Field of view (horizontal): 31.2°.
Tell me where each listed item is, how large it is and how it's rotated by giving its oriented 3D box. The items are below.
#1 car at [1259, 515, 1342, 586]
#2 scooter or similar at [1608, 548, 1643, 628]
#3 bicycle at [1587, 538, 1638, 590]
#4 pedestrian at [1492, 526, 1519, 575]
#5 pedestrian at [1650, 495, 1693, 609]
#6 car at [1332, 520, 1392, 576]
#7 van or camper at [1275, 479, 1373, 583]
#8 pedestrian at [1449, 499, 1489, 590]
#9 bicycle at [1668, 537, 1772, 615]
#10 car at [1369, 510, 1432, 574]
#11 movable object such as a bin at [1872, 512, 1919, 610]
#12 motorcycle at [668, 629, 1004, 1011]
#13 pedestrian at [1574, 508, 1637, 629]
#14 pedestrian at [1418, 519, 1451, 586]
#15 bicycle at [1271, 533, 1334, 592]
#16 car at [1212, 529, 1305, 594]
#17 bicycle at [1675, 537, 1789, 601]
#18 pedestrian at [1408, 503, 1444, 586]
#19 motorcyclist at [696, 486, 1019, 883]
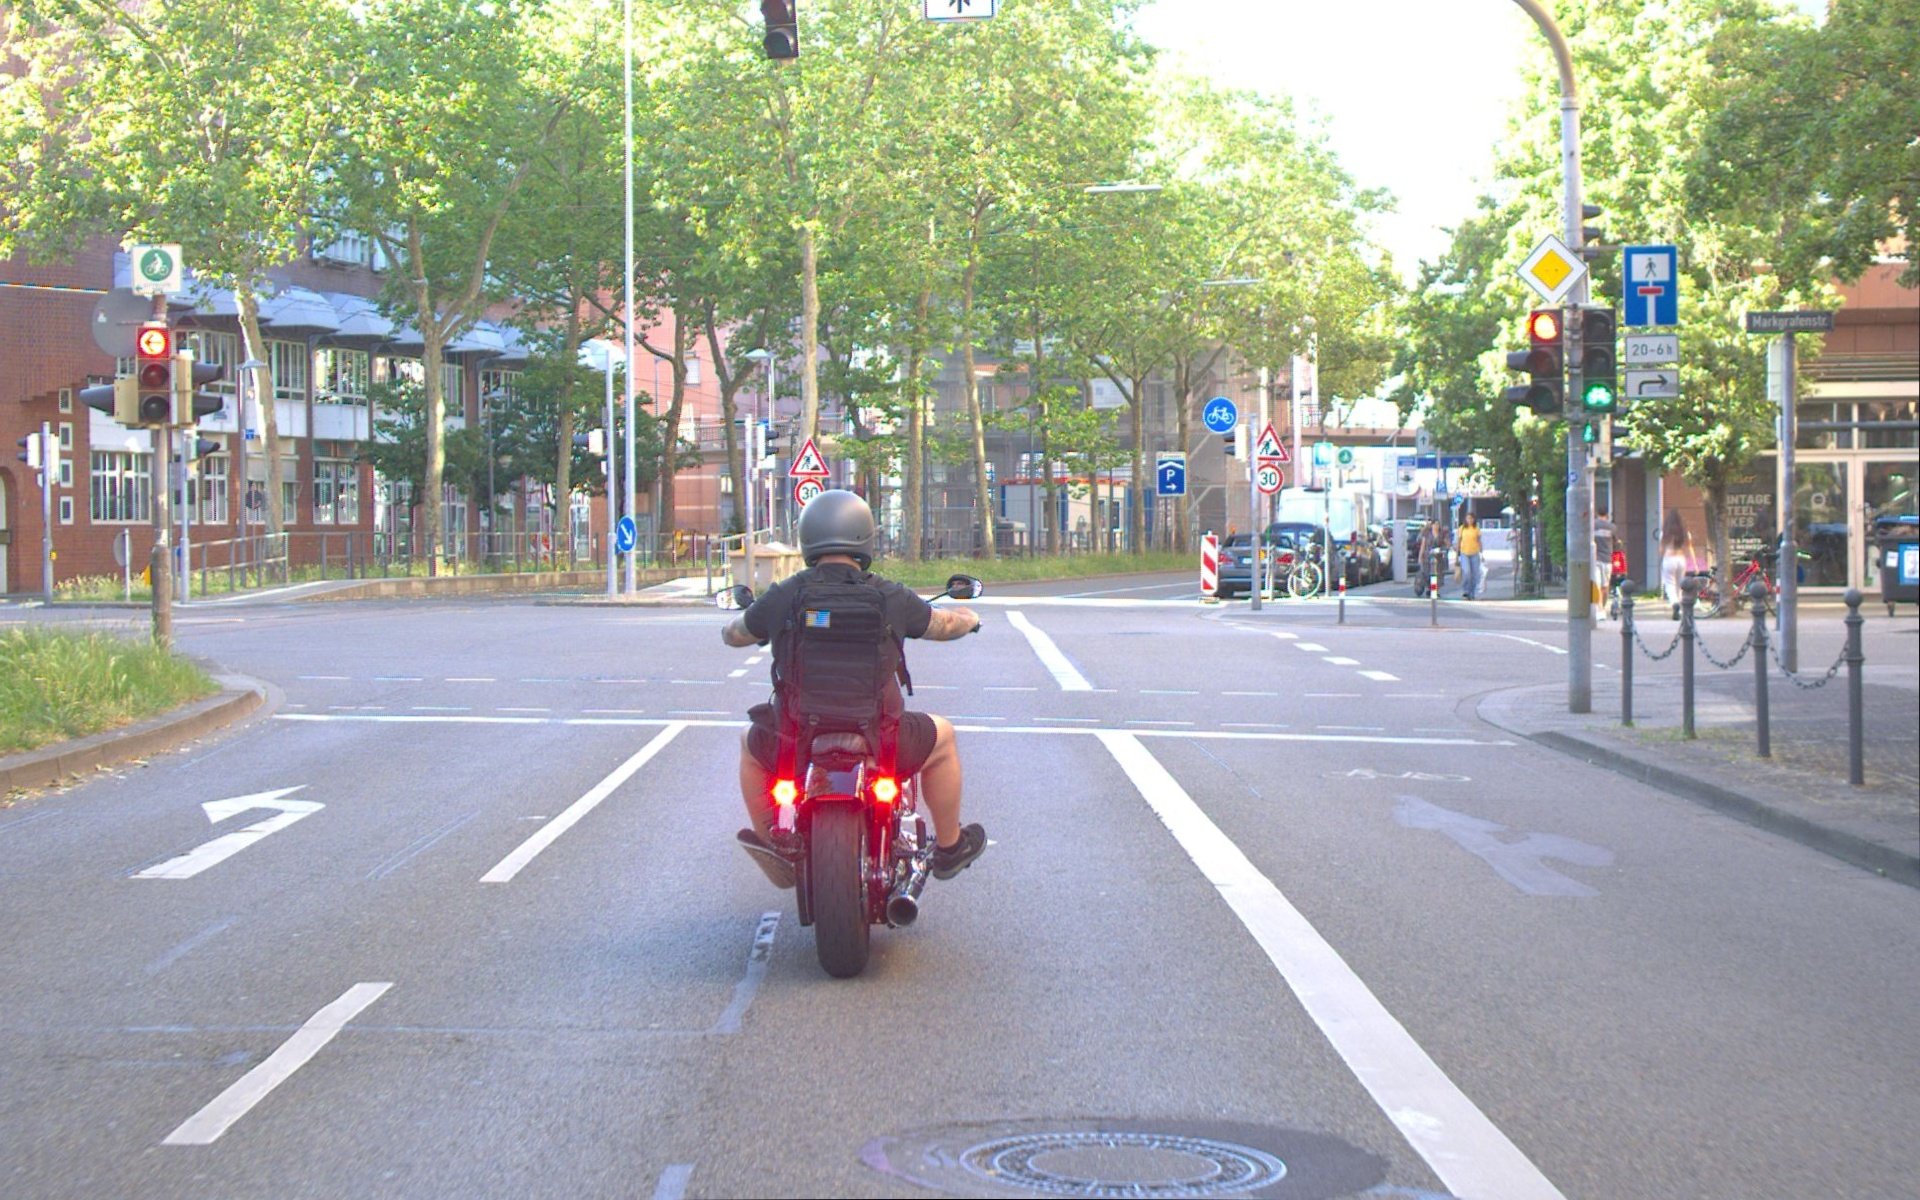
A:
[{"bbox_3d":[7.992,-1.171,80.491,1.621,1.614,4.483,0,1,10],"label":"car"},{"bbox_3d":[9.863,-0.186,50.959,0.394,1.154,1.249,0,1,6],"label":"scooter or similar"},{"bbox_3d":[11.916,-0.666,62.831,0.737,0.936,1.752,0,1,5],"label":"bicycle"},{"bbox_3d":[16.468,-1.492,103.762,0.765,1.440,0.780,1,1,9],"label":"pedestrian"},{"bbox_3d":[10.479,-0.709,50.629,0.459,1.667,0.680,0,1,-3],"label":"pedestrian"},{"bbox_3d":[11.705,-1.527,99.861,1.621,1.604,3.773,0,1,8],"label":"car"},{"bbox_3d":[9.253,-1.750,87.014,2.049,2.532,5.771,0,1,10],"label":"van or camper"},{"bbox_3d":[9.756,-1.070,65.900,0.700,1.727,0.767,0,1,4],"label":"pedestrian"},{"bbox_3d":[12.062,-0.378,54.578,1.567,1.223,0.577,0,1,6],"label":"bicycle"},{"bbox_3d":[14.250,-1.887,111.055,1.836,2.007,4.386,0,1,10],"label":"car"},{"bbox_3d":[14.516,-0.592,51.895,1.410,1.477,0.871,0,1,12],"label":"movable object such as a bin"},{"bbox_3d":[-0.368,0.682,11.528,1.018,1.093,2.008,0,2,1],"label":"motorcycle"},{"bbox_3d":[9.509,-0.467,50.662,0.785,1.757,0.610,0,1,-3],"label":"pedestrian"},{"bbox_3d":[11.663,-1.180,84.480,0.762,1.639,0.547,0,1,3],"label":"pedestrian"},{"bbox_3d":[6.333,-0.703,63.668,0.737,1.049,1.753,0,1,-9],"label":"bicycle"},{"bbox_3d":[6.167,-0.808,70.624,1.621,1.298,4.310,0,1,9],"label":"car"},{"bbox_3d":[12.944,-0.528,57.648,1.749,1.049,0.738,0,1,28],"label":"bicycle"},{"bbox_3d":[8.954,-1.064,66.028,0.644,1.573,0.748,0,1,4],"label":"pedestrian"},{"bbox_3d":[-0.330,0.265,11.602,1.011,1.258,0.774,2,2,1],"label":"motorcyclist"}]
